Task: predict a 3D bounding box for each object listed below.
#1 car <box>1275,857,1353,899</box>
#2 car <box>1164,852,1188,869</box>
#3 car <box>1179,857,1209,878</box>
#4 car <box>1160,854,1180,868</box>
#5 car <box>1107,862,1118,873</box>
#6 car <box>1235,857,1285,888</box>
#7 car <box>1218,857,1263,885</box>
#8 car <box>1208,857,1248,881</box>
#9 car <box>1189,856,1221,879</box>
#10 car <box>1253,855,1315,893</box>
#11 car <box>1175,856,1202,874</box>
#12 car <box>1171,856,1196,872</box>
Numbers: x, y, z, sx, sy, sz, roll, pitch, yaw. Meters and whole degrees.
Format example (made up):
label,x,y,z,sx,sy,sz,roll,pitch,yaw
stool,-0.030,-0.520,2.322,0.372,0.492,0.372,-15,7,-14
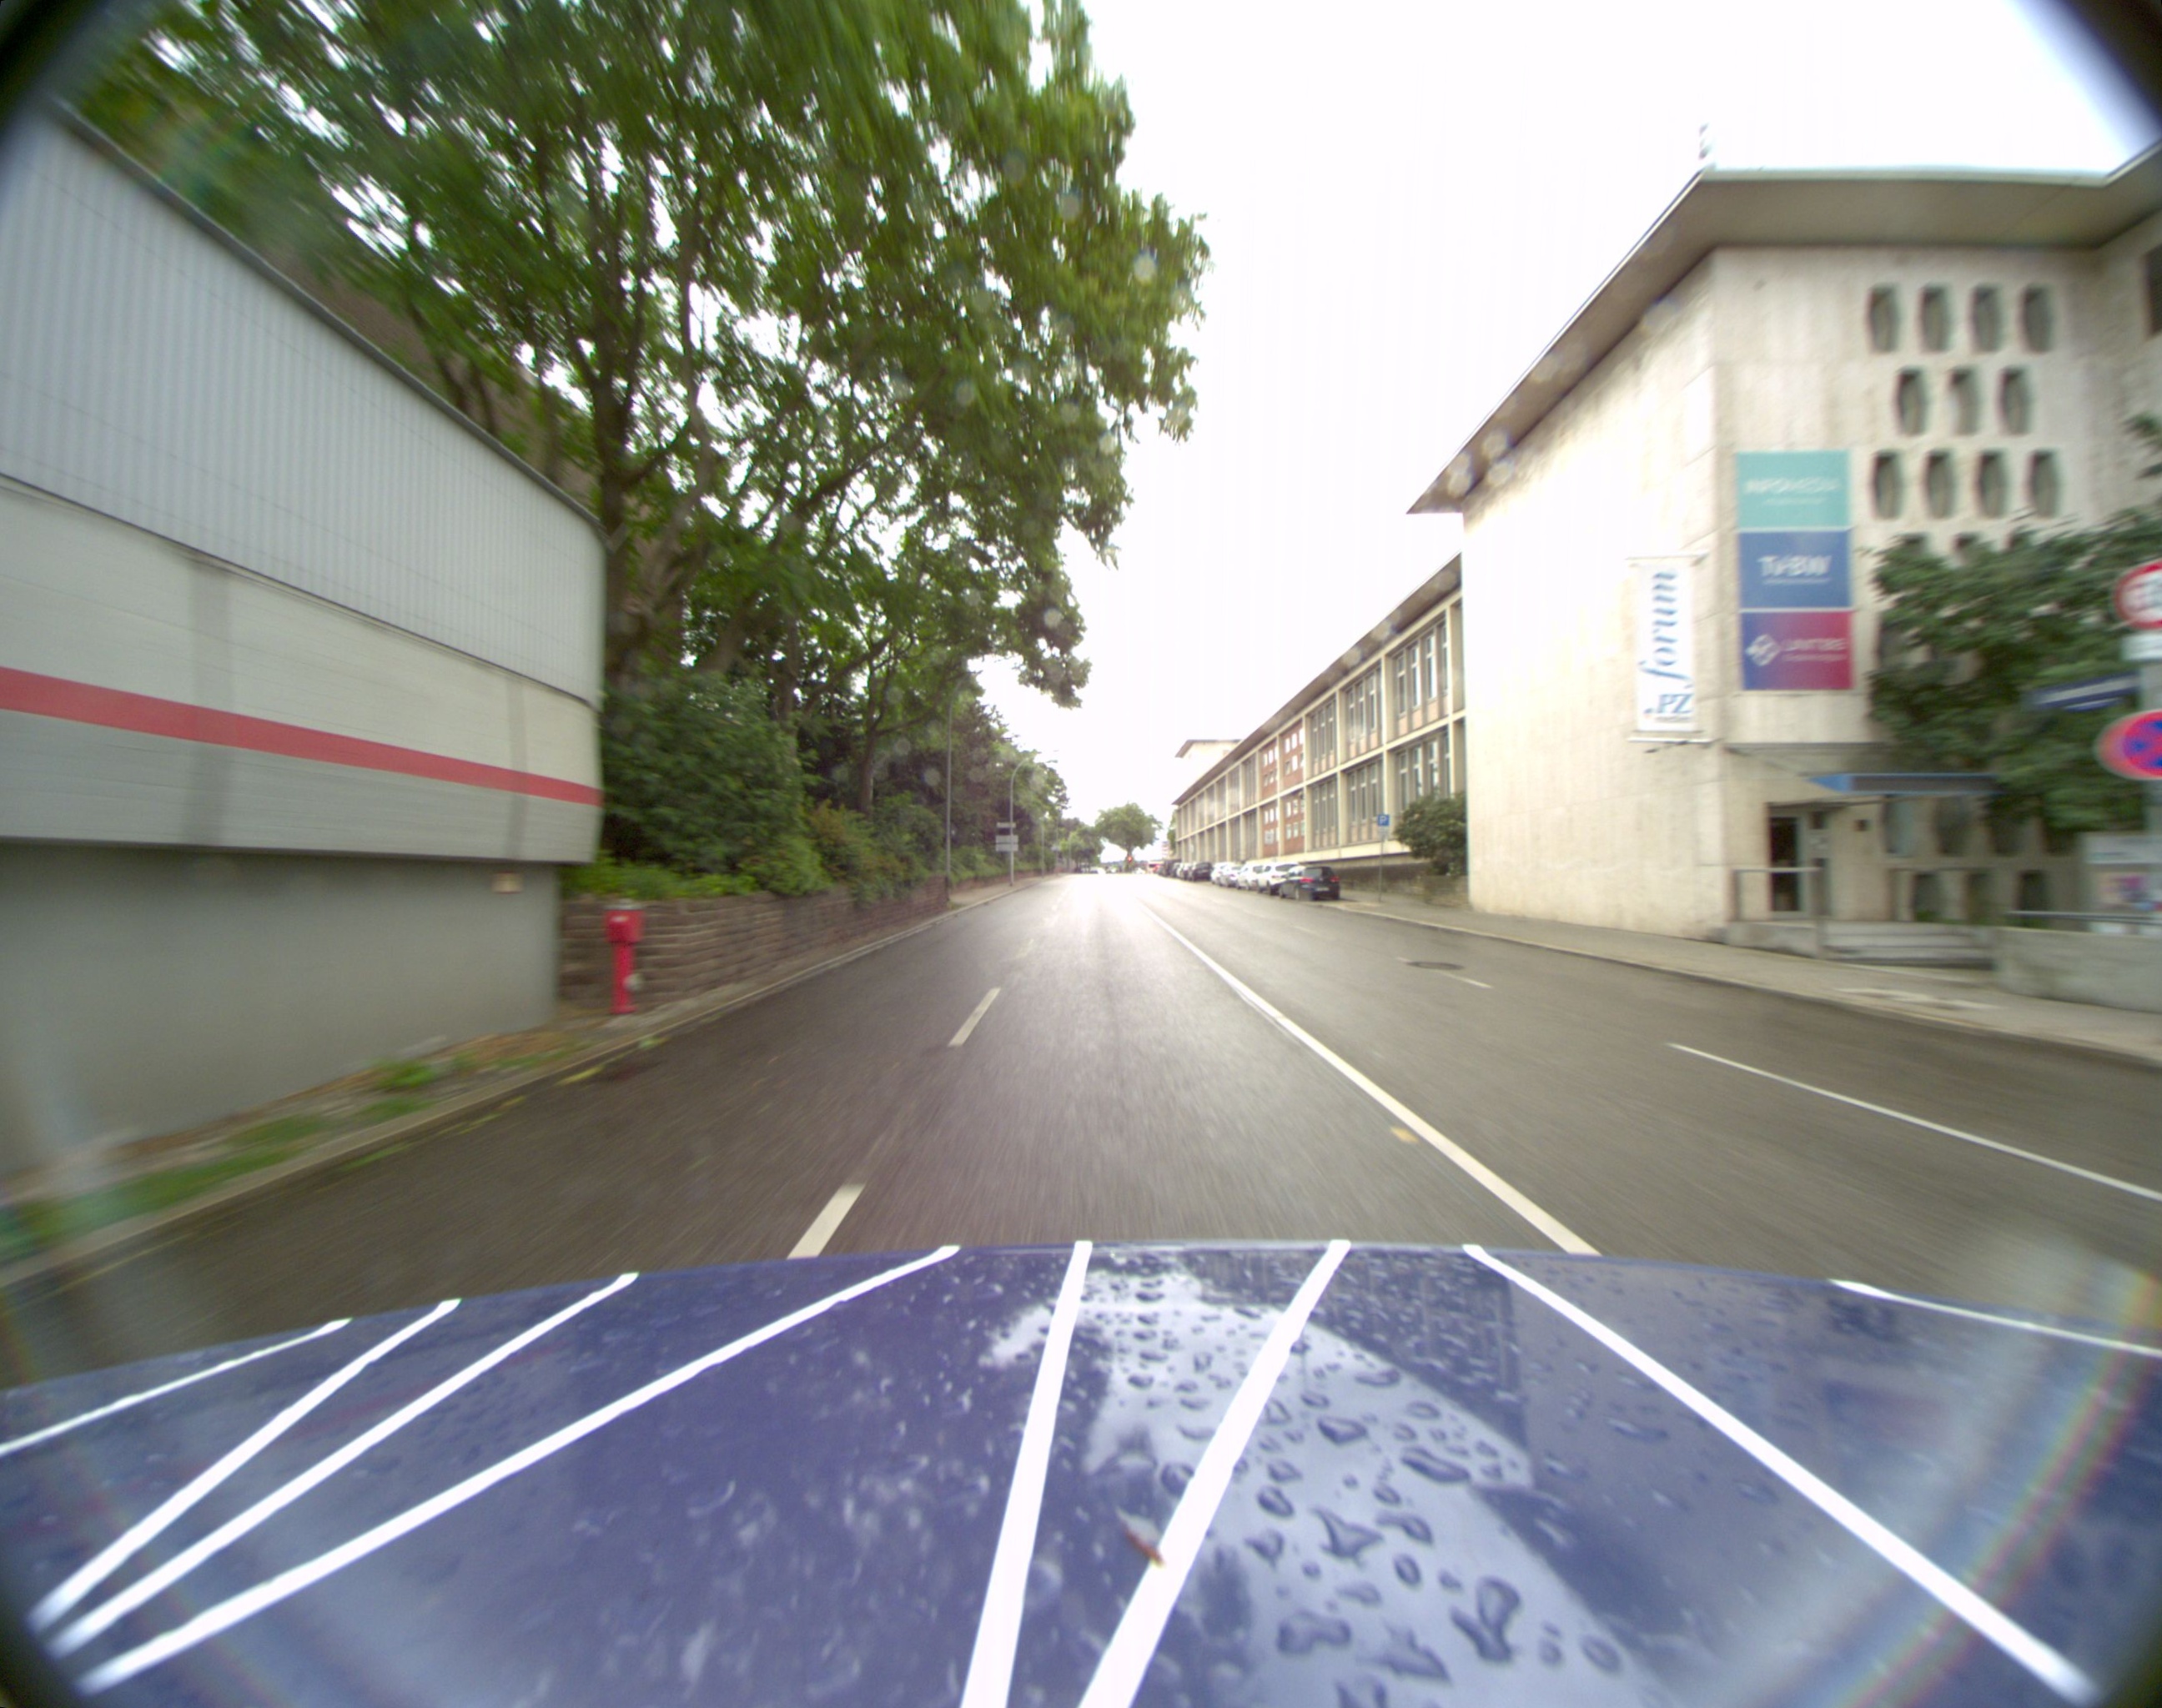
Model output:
label,x,y,z,sx,sy,sz,roll,pitch,yaw
car,9.865,0.991,32.521,1.999,1.520,3.999,-3,1,-1
car,10.424,0.672,83.852,1.999,1.637,3.998,-4,2,0
car,10.160,1.206,68.507,1.999,1.724,3.999,-3,1,-1
car,10.938,0.875,93.625,1.998,1.523,4.000,-3,1,2
car,6.405,2.686,154.481,1.805,2.002,3.998,-3,1,-5
car,10.136,1.028,43.255,1.998,1.503,4.000,-3,1,2
car,10.100,1.042,48.338,1.998,1.482,4.185,-3,1,1
car,10.433,1.032,54.174,1.998,1.521,3.999,-3,1,0
car,10.201,1.089,62.808,1.998,1.701,3.999,-3,1,0
car,9.991,0.957,37.717,1.998,1.632,3.999,-3,1,1
car,10.583,1.090,74.990,1.998,1.570,3.999,-3,1,1
car,10.650,1.030,79.346,1.998,1.528,3.999,-3,1,0
